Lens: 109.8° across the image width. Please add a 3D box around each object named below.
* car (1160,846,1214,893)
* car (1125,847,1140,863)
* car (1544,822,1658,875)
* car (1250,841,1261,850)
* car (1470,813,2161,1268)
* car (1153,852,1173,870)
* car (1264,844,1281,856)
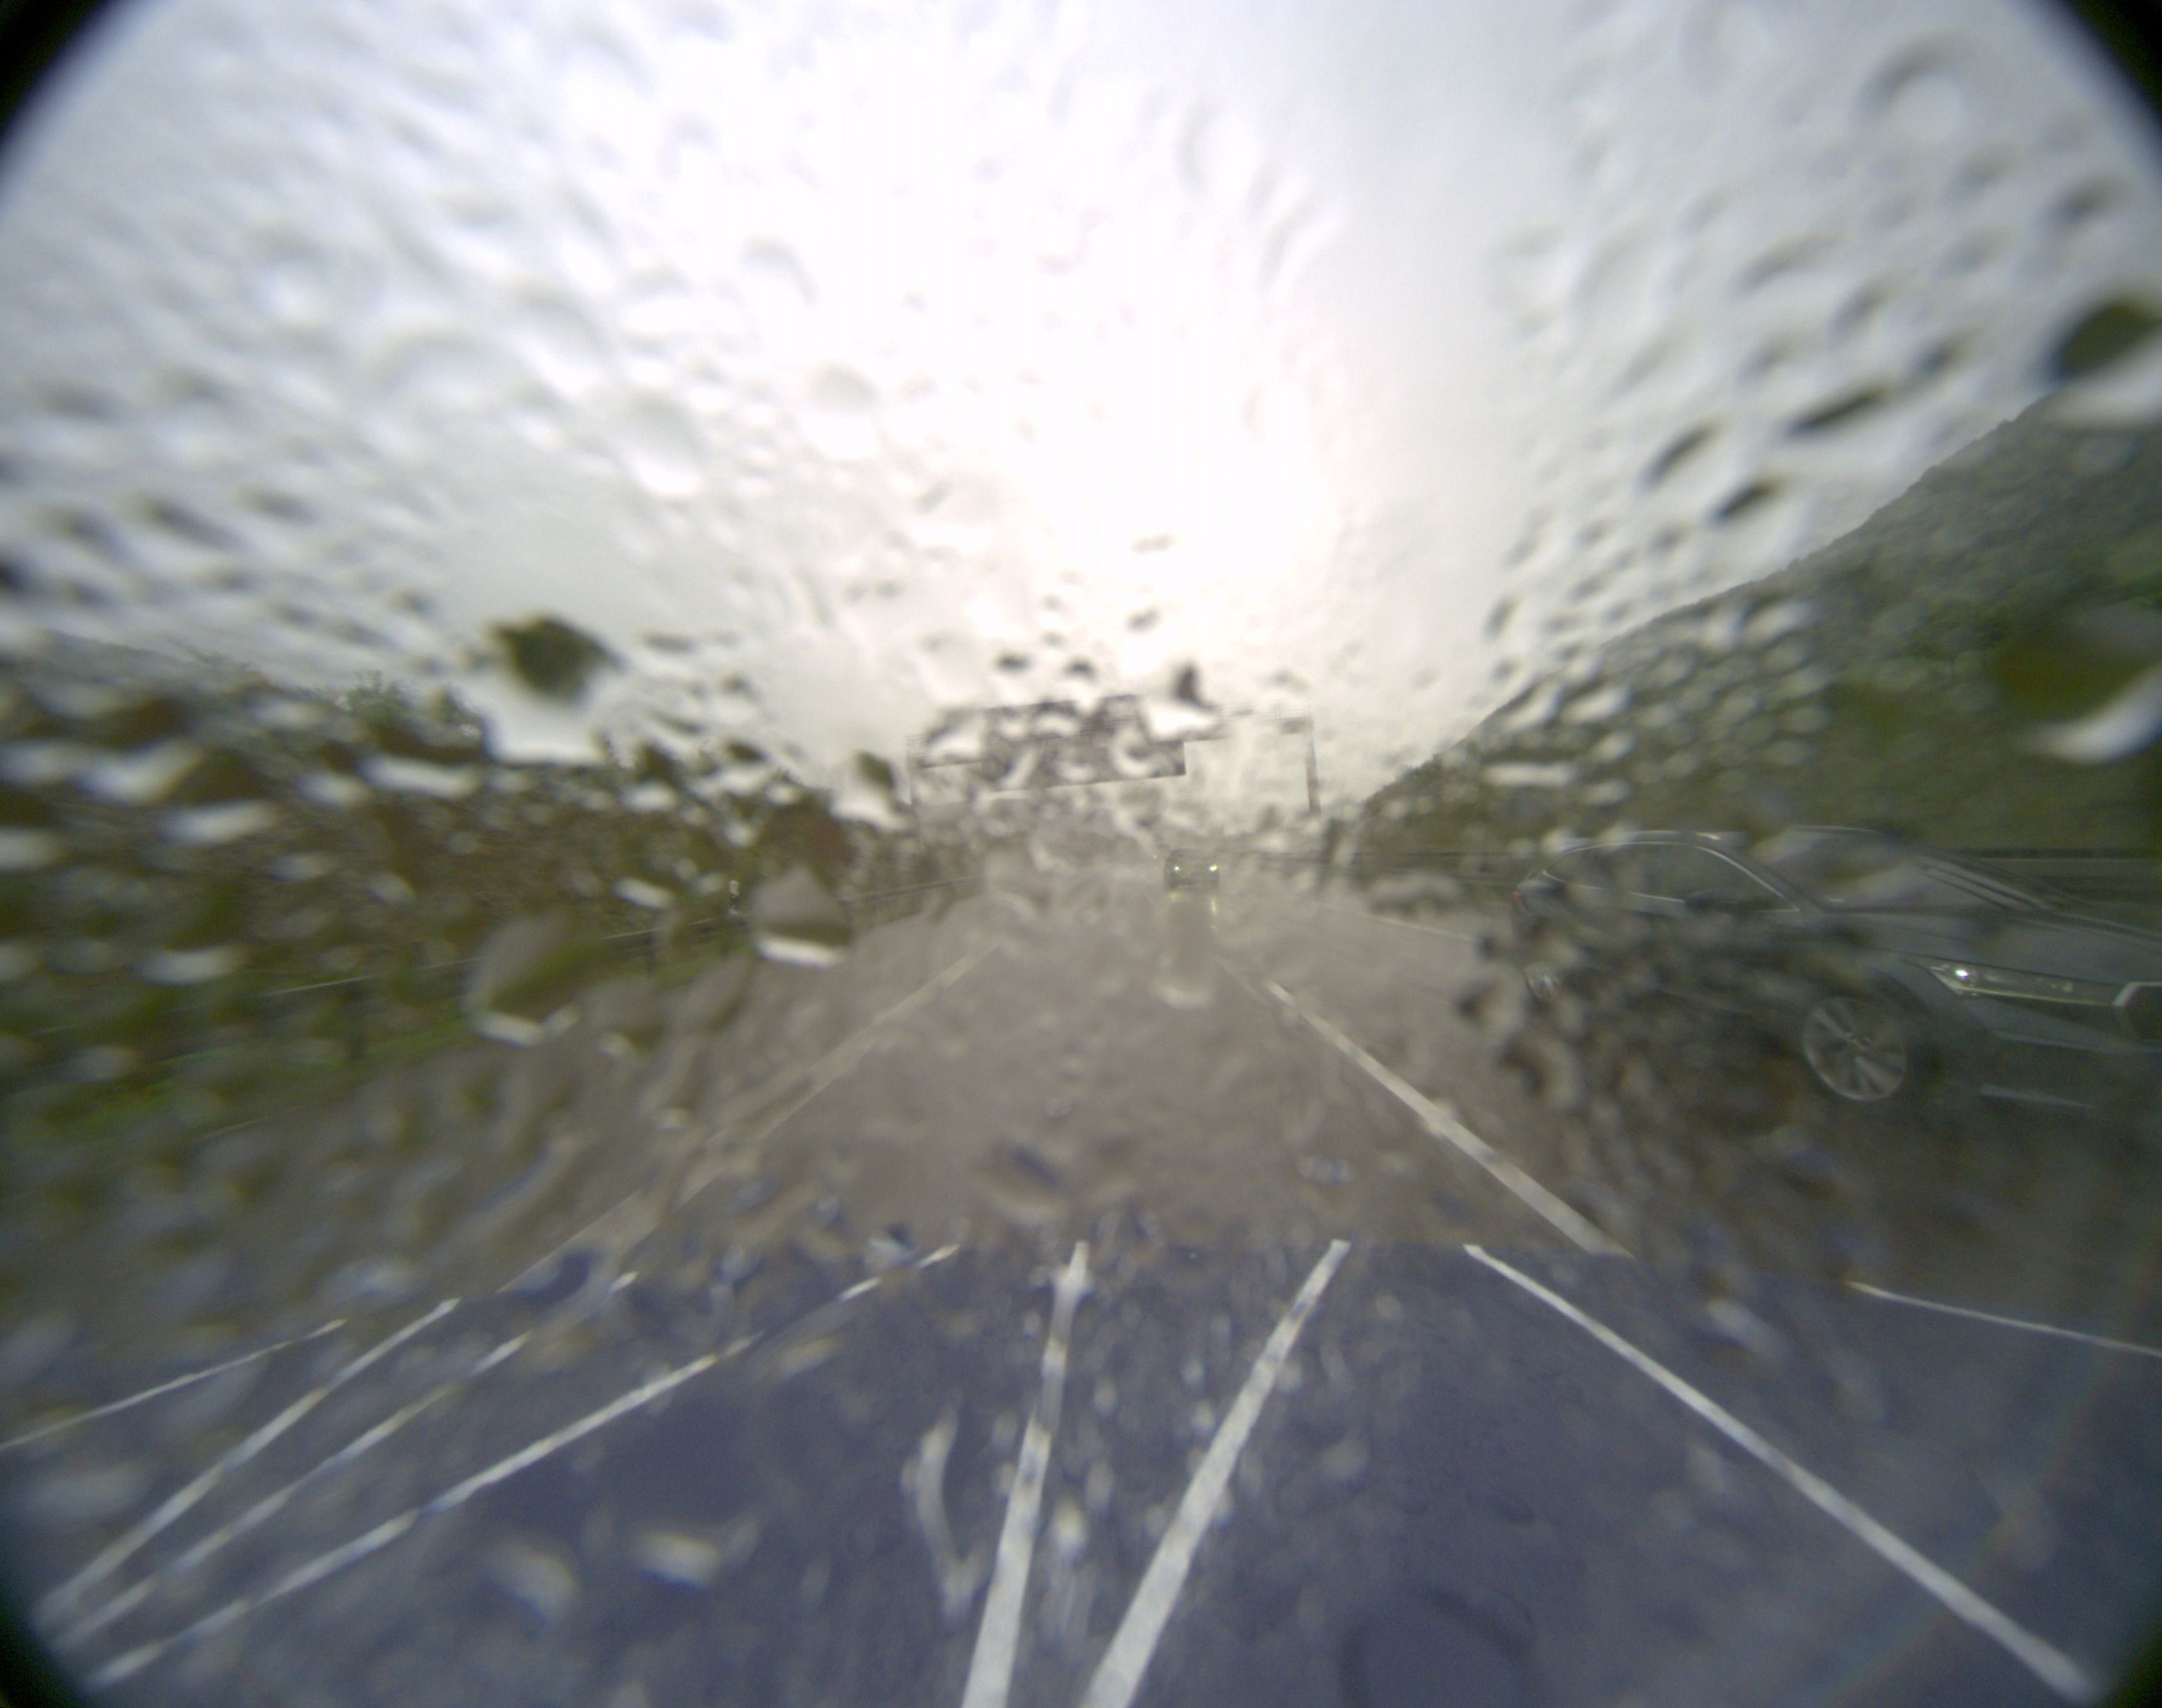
[{"bbox_3d":[4.356,0.584,31.680,1.814,1.692,3.749,-4,1,3],"label":"car"},{"bbox_3d":[6.994,0.103,102.937,1.835,2.002,3.938,-4,1,3],"label":"car"},{"bbox_3d":[19.022,-0.203,28.000,1.683,1.783,3.683,-2,0,1],"label":"car"},{"bbox_3d":[33.359,-1.607,145.293,1.710,1.638,4.002,-2,1,9],"label":"car"},{"bbox_3d":[4.921,0.645,5.126,1.999,1.673,4.908,-1,1,-1],"label":"car"},{"bbox_3d":[9.845,0.851,91.739,1.987,2.001,3.934,-2,0,2],"label":"car"},{"bbox_3d":[27.898,-0.541,110.696,1.780,1.682,4.001,-2,0,6],"label":"car"}]
